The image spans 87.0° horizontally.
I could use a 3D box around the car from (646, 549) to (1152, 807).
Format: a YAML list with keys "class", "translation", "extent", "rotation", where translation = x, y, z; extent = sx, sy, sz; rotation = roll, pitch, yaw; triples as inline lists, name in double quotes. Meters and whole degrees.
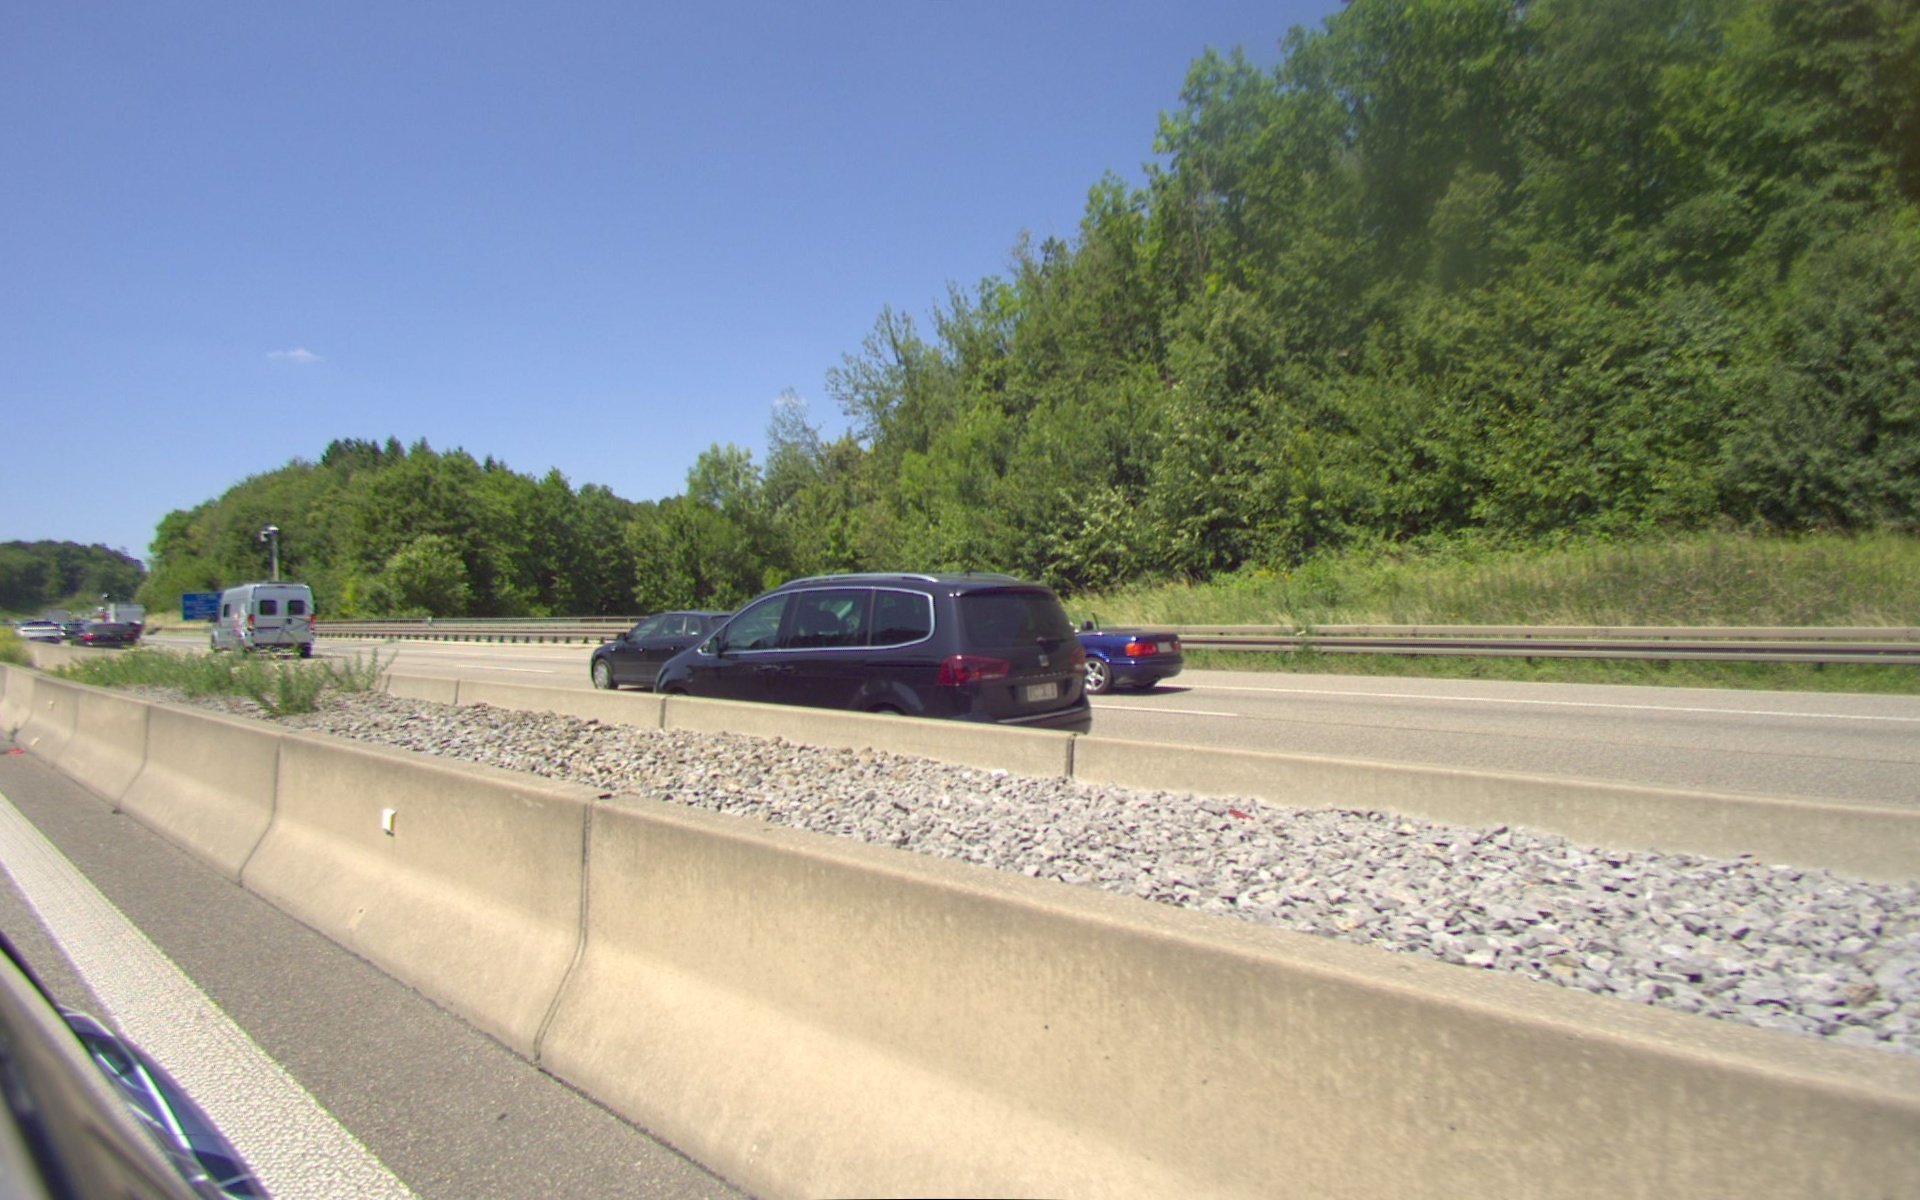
- class: "car"
  translation: [-0.718, 0.563, 8.993]
  extent: [4.354, 1.737, 1.973]
  rotation: [-2, -1, 41]

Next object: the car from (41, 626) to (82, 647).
- class: "car"
  translation: [-65.861, 2.633, 74.173]
  extent: [4.233, 1.431, 1.823]
  rotation: [-1, 0, 42]

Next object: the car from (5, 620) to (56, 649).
- class: "car"
  translation: [-52.614, 1.942, 57.274]
  extent: [4.256, 1.538, 1.785]
  rotation: [-1, 0, 42]

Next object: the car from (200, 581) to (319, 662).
- class: "car"
  translation: [-25.517, 0.751, 36.745]
  extent: [6.060, 2.722, 2.192]
  rotation: [-1, 0, 42]

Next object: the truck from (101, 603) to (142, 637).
- class: "truck"
  translation: [-91.425, 2.175, 110.288]
  extent: [7.317, 3.501, 2.705]
  rotation: [-2, -1, 45]

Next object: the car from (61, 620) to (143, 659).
- class: "car"
  translation: [-33.707, 1.520, 39.704]
  extent: [4.411, 1.421, 1.855]
  rotation: [-1, 0, 42]

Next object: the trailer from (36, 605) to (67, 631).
- class: "trailer"
  translation: [-141.415, 2.874, 157.417]
  extent: [10.170, 3.886, 2.750]
  rotation: [-2, -1, 43]

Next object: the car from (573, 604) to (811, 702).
- class: "car"
  translation: [-4.590, 0.835, 17.019]
  extent: [4.269, 1.412, 1.794]
  rotation: [-2, -1, 41]

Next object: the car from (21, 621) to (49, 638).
- class: "car"
  translation: [-100.118, 3.195, 109.522]
  extent: [4.531, 1.714, 1.971]
  rotation: [-2, -1, 44]
